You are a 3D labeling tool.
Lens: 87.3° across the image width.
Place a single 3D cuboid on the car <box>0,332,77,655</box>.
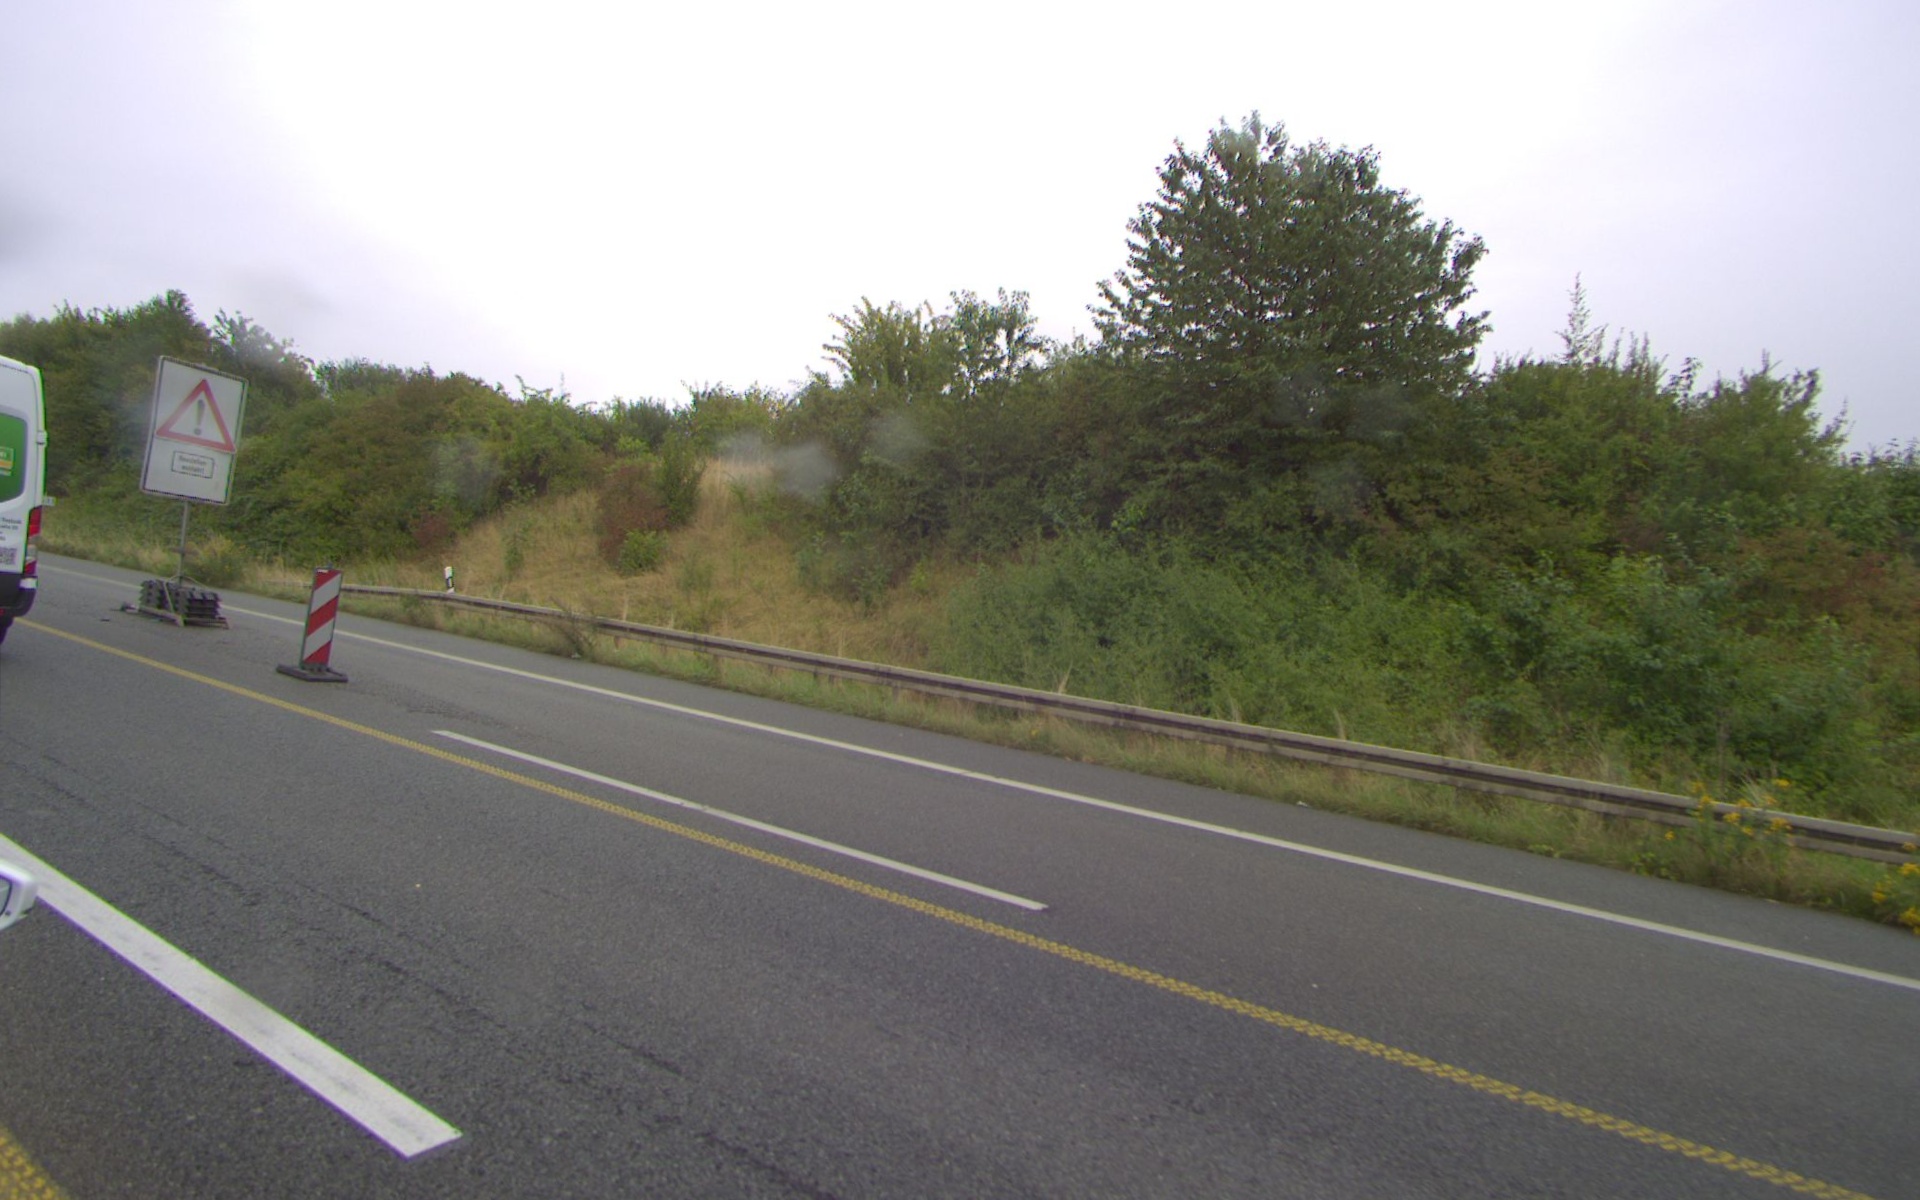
[{"bbox_3d":[-11.168,-1.257,9.818,5.659,2.816,1.997,7,0,31],"label":"car"}]
